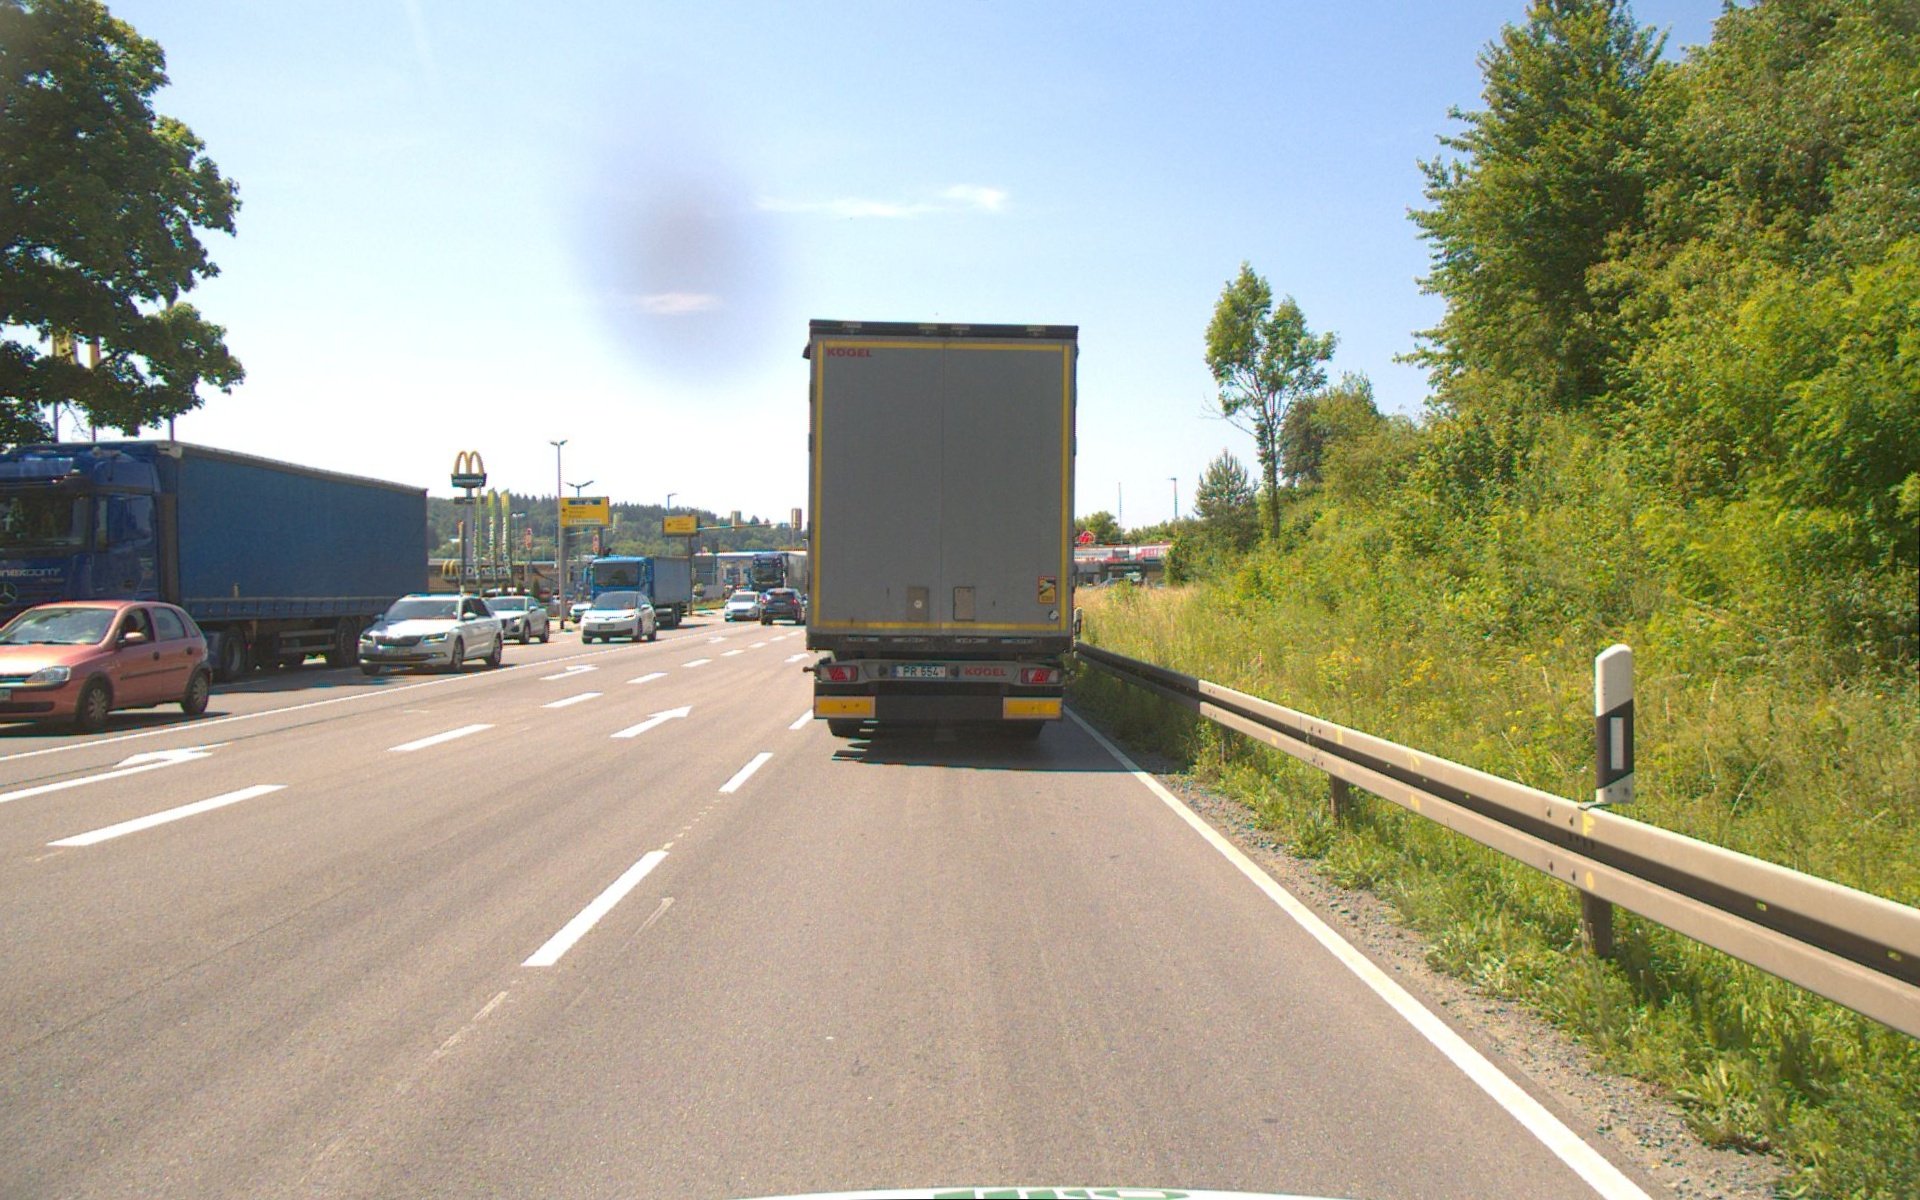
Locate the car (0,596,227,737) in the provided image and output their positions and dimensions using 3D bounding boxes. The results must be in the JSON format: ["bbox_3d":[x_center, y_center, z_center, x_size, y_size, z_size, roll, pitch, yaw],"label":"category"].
[{"bbox_3d":[-10.253,0.710,19.306,1.731,1.471,3.775,-1,0,-1],"label":"car"}]

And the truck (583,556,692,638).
[{"bbox_3d":[-14.331,-0.116,74.371,2.788,3.410,11.479,-1,0,-1],"label":"truck"}]

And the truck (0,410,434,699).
[{"bbox_3d":[-14.393,-0.658,32.659,2.908,4.250,16.571,-1,0,-1],"label":"truck"}]

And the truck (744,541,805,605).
[{"bbox_3d":[-14.015,-2.006,126.465,3.082,4.425,17.537,-1,1,-2],"label":"truck"}]

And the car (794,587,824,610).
[{"bbox_3d":[-10.918,-0.094,119.808,1.705,1.529,4.405,-2,-1,0],"label":"car"}]

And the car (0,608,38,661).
[{"bbox_3d":[-42.608,1.503,70.788,1.961,2.221,5.171,-1,0,37],"label":"car"}]

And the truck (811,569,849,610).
[{"bbox_3d":[-13.061,-1.031,167.712,2.875,4.019,14.234,-1,0,-1],"label":"truck"}]

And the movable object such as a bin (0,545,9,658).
[{"bbox_3d":[-31.808,0.100,47.932,2.996,3.356,6.756,-1,0,40],"label":"movable object such as a bin"}]

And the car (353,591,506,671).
[{"bbox_3d":[-10.357,0.572,32.628,1.665,1.439,4.561,-1,0,-2],"label":"car"}]

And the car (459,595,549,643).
[{"bbox_3d":[-14.498,0.581,52.792,1.725,1.453,4.179,-1,0,0],"label":"car"}]

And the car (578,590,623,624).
[{"bbox_3d":[-21.968,0.417,101.199,1.953,2.049,3.999,-1,0,-1],"label":"car"}]

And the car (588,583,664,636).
[{"bbox_3d":[-10.488,0.266,52.128,1.757,1.548,4.183,-2,1,-4],"label":"car"}]

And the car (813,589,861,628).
[{"bbox_3d":[-5.556,0.349,74.880,1.767,1.699,4.292,0,0,1],"label":"car"}]

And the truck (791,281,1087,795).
[{"bbox_3d":[-0.385,-0.461,23.576,2.700,4.720,16.649,0,-1,-1],"label":"truck"}]

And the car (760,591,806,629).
[{"bbox_3d":[-8.057,0.448,75.486,1.757,1.655,4.367,-1,0,-2],"label":"car"}]

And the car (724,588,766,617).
[{"bbox_3d":[-11.157,0.129,85.997,1.753,1.451,4.261,0,0,-3],"label":"car"}]
